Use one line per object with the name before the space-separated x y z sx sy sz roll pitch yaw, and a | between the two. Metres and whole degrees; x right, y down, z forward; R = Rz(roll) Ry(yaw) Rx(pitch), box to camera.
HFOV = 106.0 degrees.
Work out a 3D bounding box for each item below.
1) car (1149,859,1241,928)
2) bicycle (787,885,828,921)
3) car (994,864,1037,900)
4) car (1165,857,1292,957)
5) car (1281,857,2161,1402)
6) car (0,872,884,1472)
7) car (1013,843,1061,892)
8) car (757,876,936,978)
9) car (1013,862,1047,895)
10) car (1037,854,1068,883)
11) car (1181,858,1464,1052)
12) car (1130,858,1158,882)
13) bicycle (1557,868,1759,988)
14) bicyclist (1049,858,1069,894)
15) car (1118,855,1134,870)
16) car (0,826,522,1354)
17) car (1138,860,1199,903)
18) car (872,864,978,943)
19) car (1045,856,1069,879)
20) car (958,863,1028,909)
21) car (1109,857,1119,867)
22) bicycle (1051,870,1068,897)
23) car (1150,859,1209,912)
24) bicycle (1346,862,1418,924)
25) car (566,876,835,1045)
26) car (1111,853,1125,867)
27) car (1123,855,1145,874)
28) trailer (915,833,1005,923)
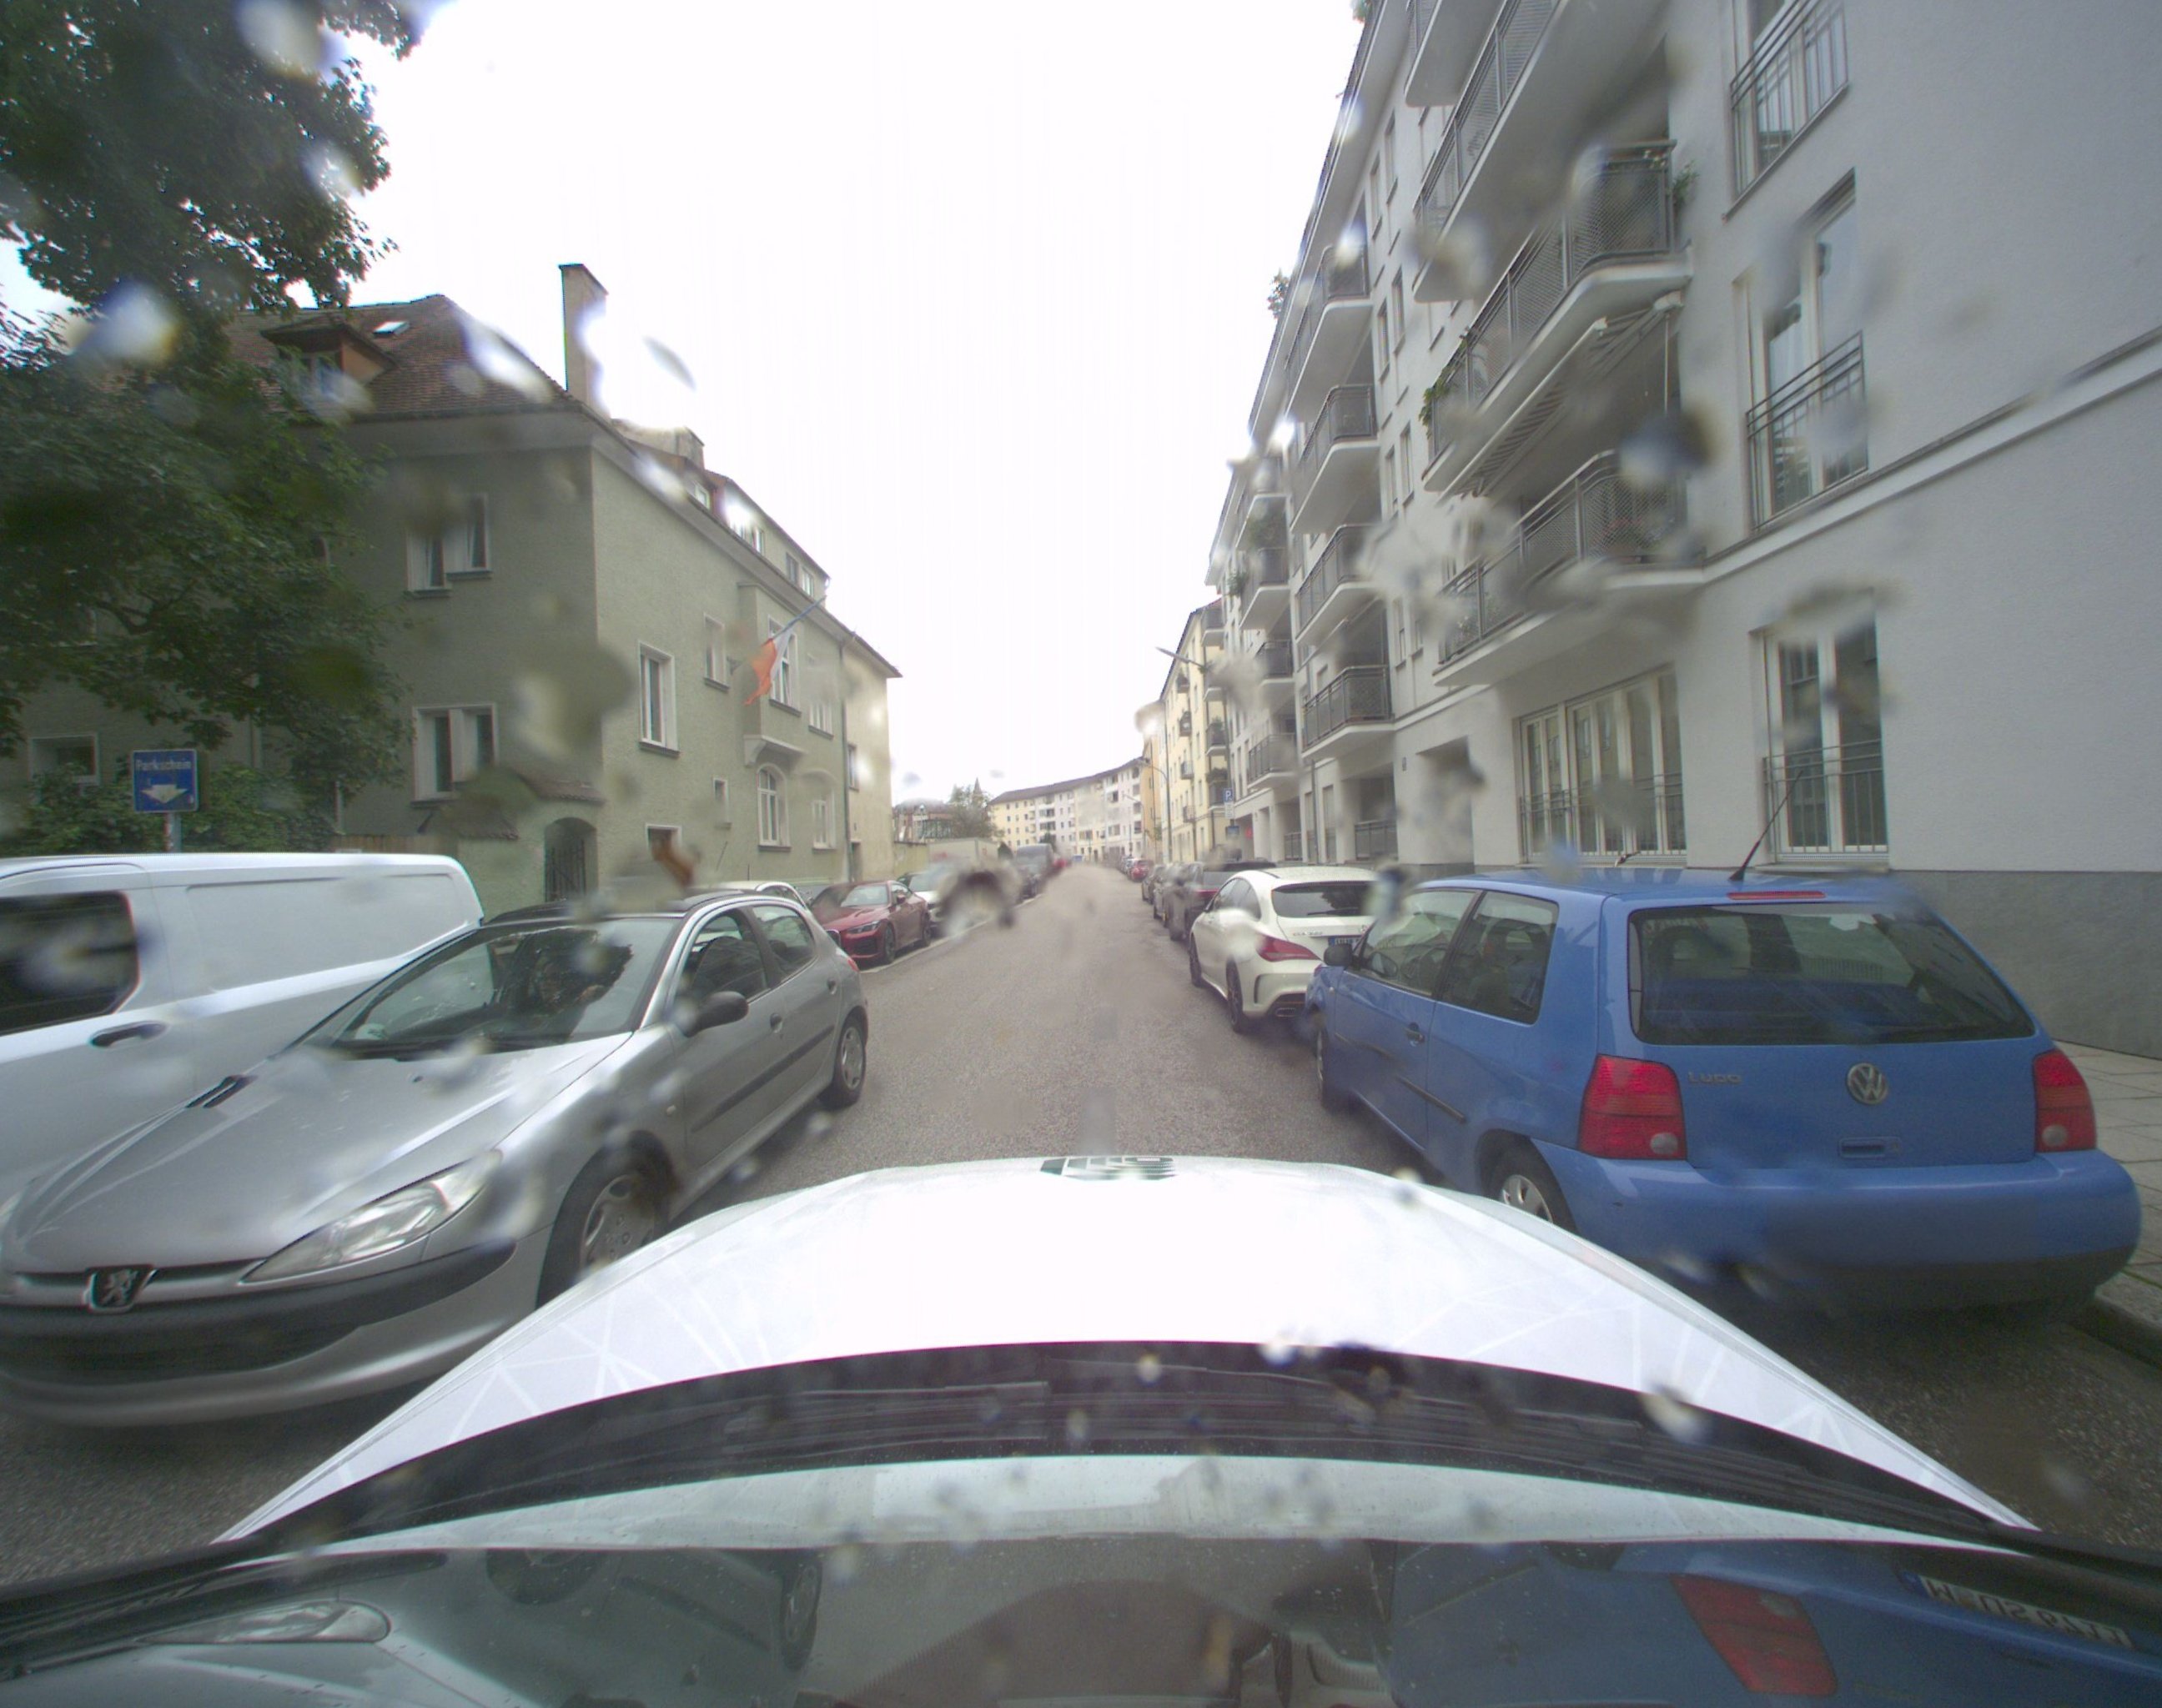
car | 2.749 0.893 20.500 1.728 1.530 4.622 0 0 1
bicycle | -7.660 1.345 22.859 0.521 0.907 1.928 1 0 -1
car | -2.990 1.267 37.862 1.695 1.446 3.824 -2 0 0
car | 2.481 0.831 14.557 1.598 1.530 3.984 0 0 1
car | 2.203 0.743 3.924 1.613 1.412 3.553 0 -1 0
car | -2.275 0.847 3.843 1.574 1.411 3.615 -3 -1 3
car | -2.521 0.723 47.963 2.079 2.636 5.382 -3 0 3
car | -4.039 1.185 14.830 1.854 1.412 4.333 -5 -1 0
car | -2.656 1.266 42.839 1.581 1.538 3.541 -3 -1 -1
car | -2.077 1.059 60.849 1.876 1.931 4.602 -4 0 1
car | 2.054 0.765 8.176 1.652 1.440 4.207 0 0 1
car | 4.151 1.033 54.017 1.589 1.509 3.802 -3 0 2
bicycle | 5.616 0.681 8.090 0.675 1.028 1.835 -3 -2 1
bicyclist | -0.964 0.987 36.502 0.691 1.561 0.968 -4 -1 4
car | 4.924 0.958 89.719 1.585 1.582 4.299 -1 0 0
car | -4.568 0.863 3.215 1.684 1.803 4.146 -4 0 1
car | 3.179 0.996 30.338 1.758 1.408 4.077 -2 -1 -1
car | -3.730 1.128 20.167 1.681 1.603 3.922 -4 0 1
car | -1.938 1.096 67.457 1.696 1.691 4.028 -4 0 1
car | -3.289 1.174 31.473 1.758 1.538 4.546 -5 -1 4
car | 4.457 1.040 110.945 1.268 1.299 2.797 -2 0 0
bicycle | -0.950 1.290 36.462 0.502 1.128 1.775 -4 0 5
car | 3.058 0.948 25.859 1.514 1.530 3.527 -1 0 1
bicycle | 6.120 0.752 16.678 0.625 1.160 2.127 -3 0 0
car | -4.177 1.072 9.533 1.468 1.466 3.313 -4 -1 1
car | 4.510 0.681 99.432 1.469 1.641 4.001 -1 0 0
car | 4.514 0.890 69.773 1.593 1.491 3.799 -2 0 0
trailer | -3.685 0.687 25.657 1.702 2.461 4.391 -4 0 4
